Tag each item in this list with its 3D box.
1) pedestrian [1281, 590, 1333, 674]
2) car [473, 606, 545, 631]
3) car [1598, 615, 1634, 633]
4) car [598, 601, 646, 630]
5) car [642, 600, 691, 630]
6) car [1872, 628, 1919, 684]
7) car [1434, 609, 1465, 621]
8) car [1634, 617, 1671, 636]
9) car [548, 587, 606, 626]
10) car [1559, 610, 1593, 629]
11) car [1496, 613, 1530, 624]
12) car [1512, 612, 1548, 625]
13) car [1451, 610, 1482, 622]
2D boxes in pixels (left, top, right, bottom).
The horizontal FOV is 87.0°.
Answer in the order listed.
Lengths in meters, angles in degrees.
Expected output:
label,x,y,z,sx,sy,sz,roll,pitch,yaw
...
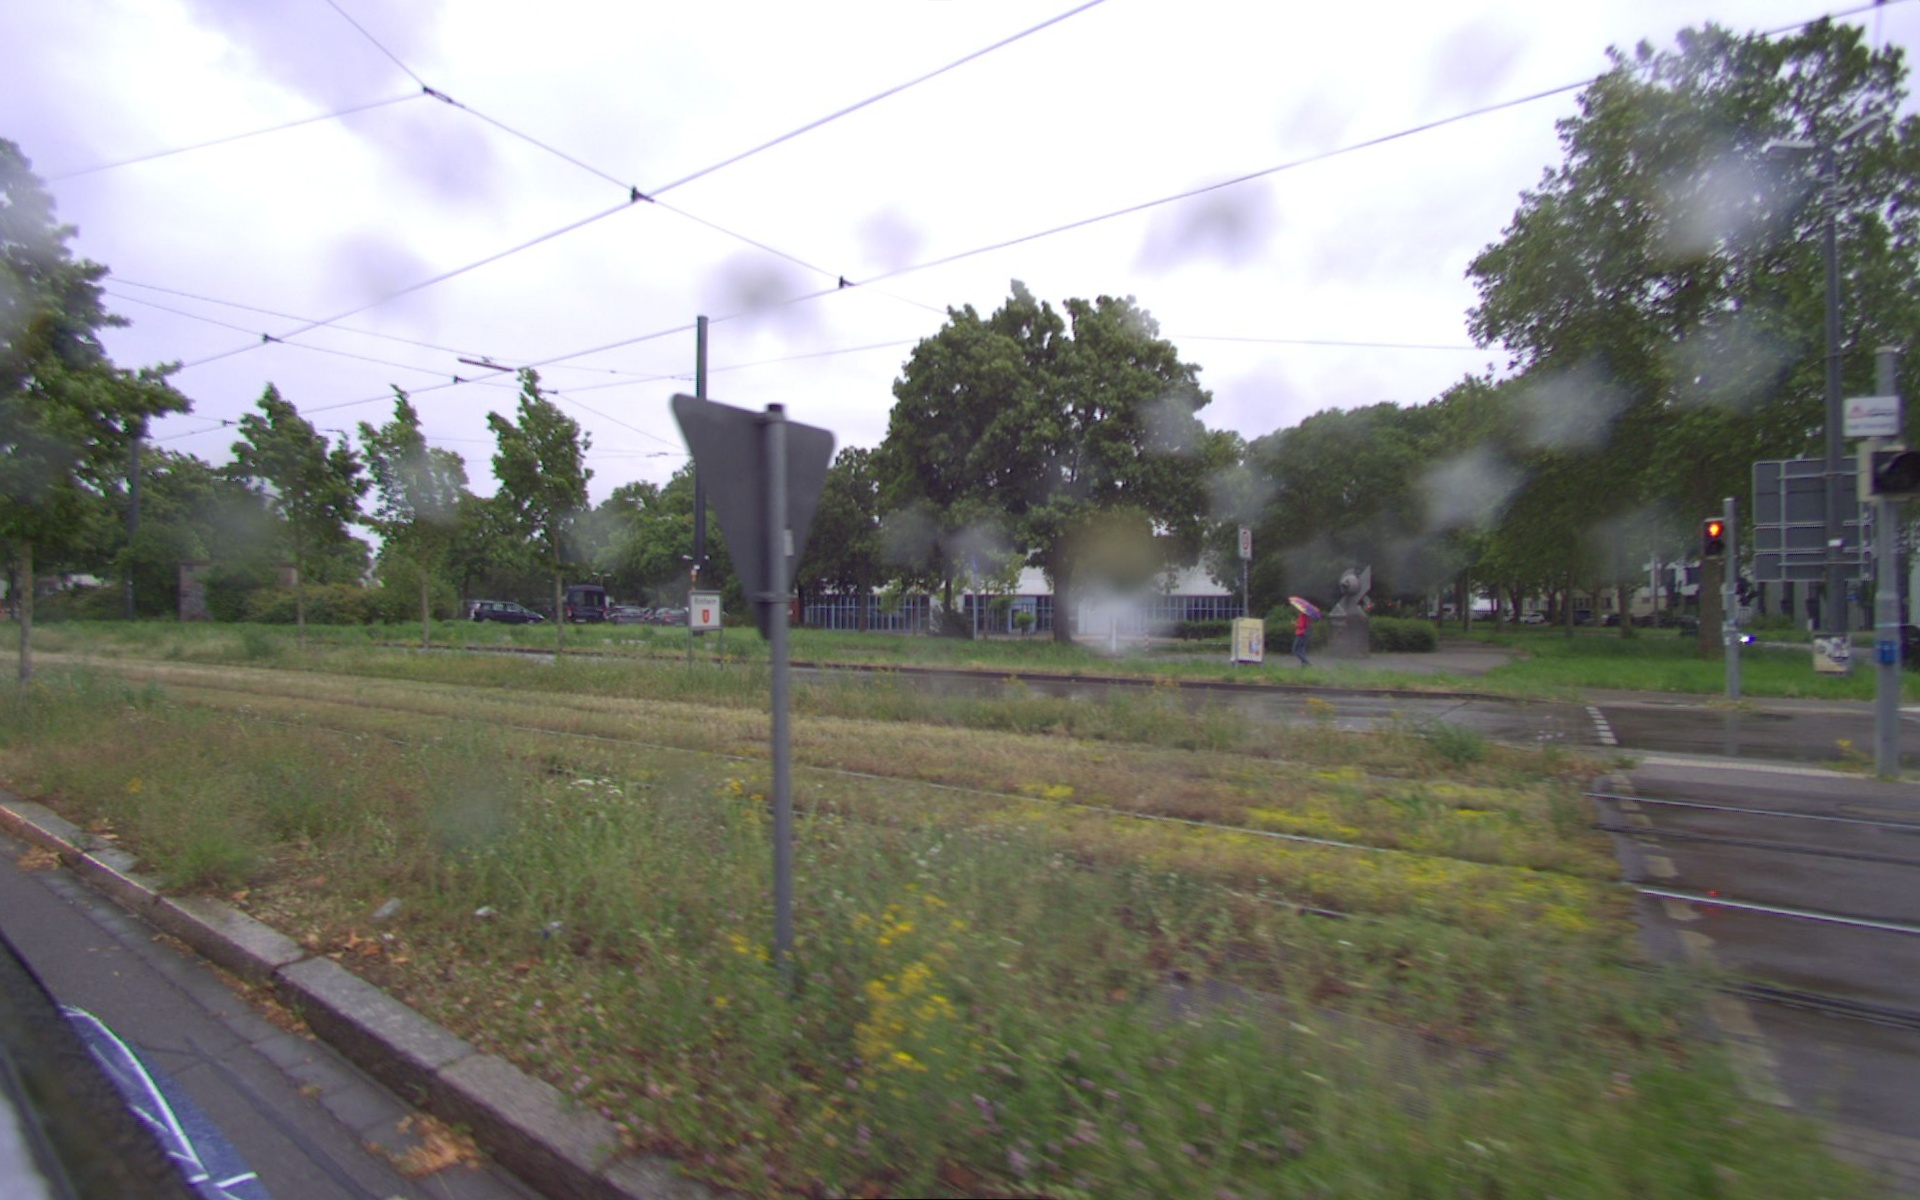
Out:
label,x,y,z,sx,sy,sz,roll,pitch,yaw
pedestrian,8.556,0.757,24.917,1.005,2.005,0.943,0,0,33
car,-28.949,1.149,64.966,4.110,1.494,1.789,-1,0,-26
car,71.552,2.601,110.508,1.980,1.796,3.984,0,0,12
car,-19.166,0.839,57.326,1.726,1.542,4.864,-1,1,-29
car,-16.935,0.816,58.218,2.026,1.584,5.033,-1,1,-24
car,25.511,1.426,25.795,1.791,1.412,4.285,-2,-2,19
car,79.379,2.484,164.126,3.945,1.834,1.999,0,0,2
car,70.661,2.732,103.336,1.983,1.796,3.977,0,0,17
car,-21.026,0.317,55.402,2.273,2.029,5.134,-1,1,-29
car,74.206,2.332,121.953,2.105,2.104,3.987,0,0,10
car,78.500,2.566,143.688,3.826,1.504,1.887,0,0,1
car,78.555,2.522,139.563,3.832,1.663,1.884,0,0,6
car,79.301,2.525,158.474,3.942,1.845,2.001,-1,0,-2
